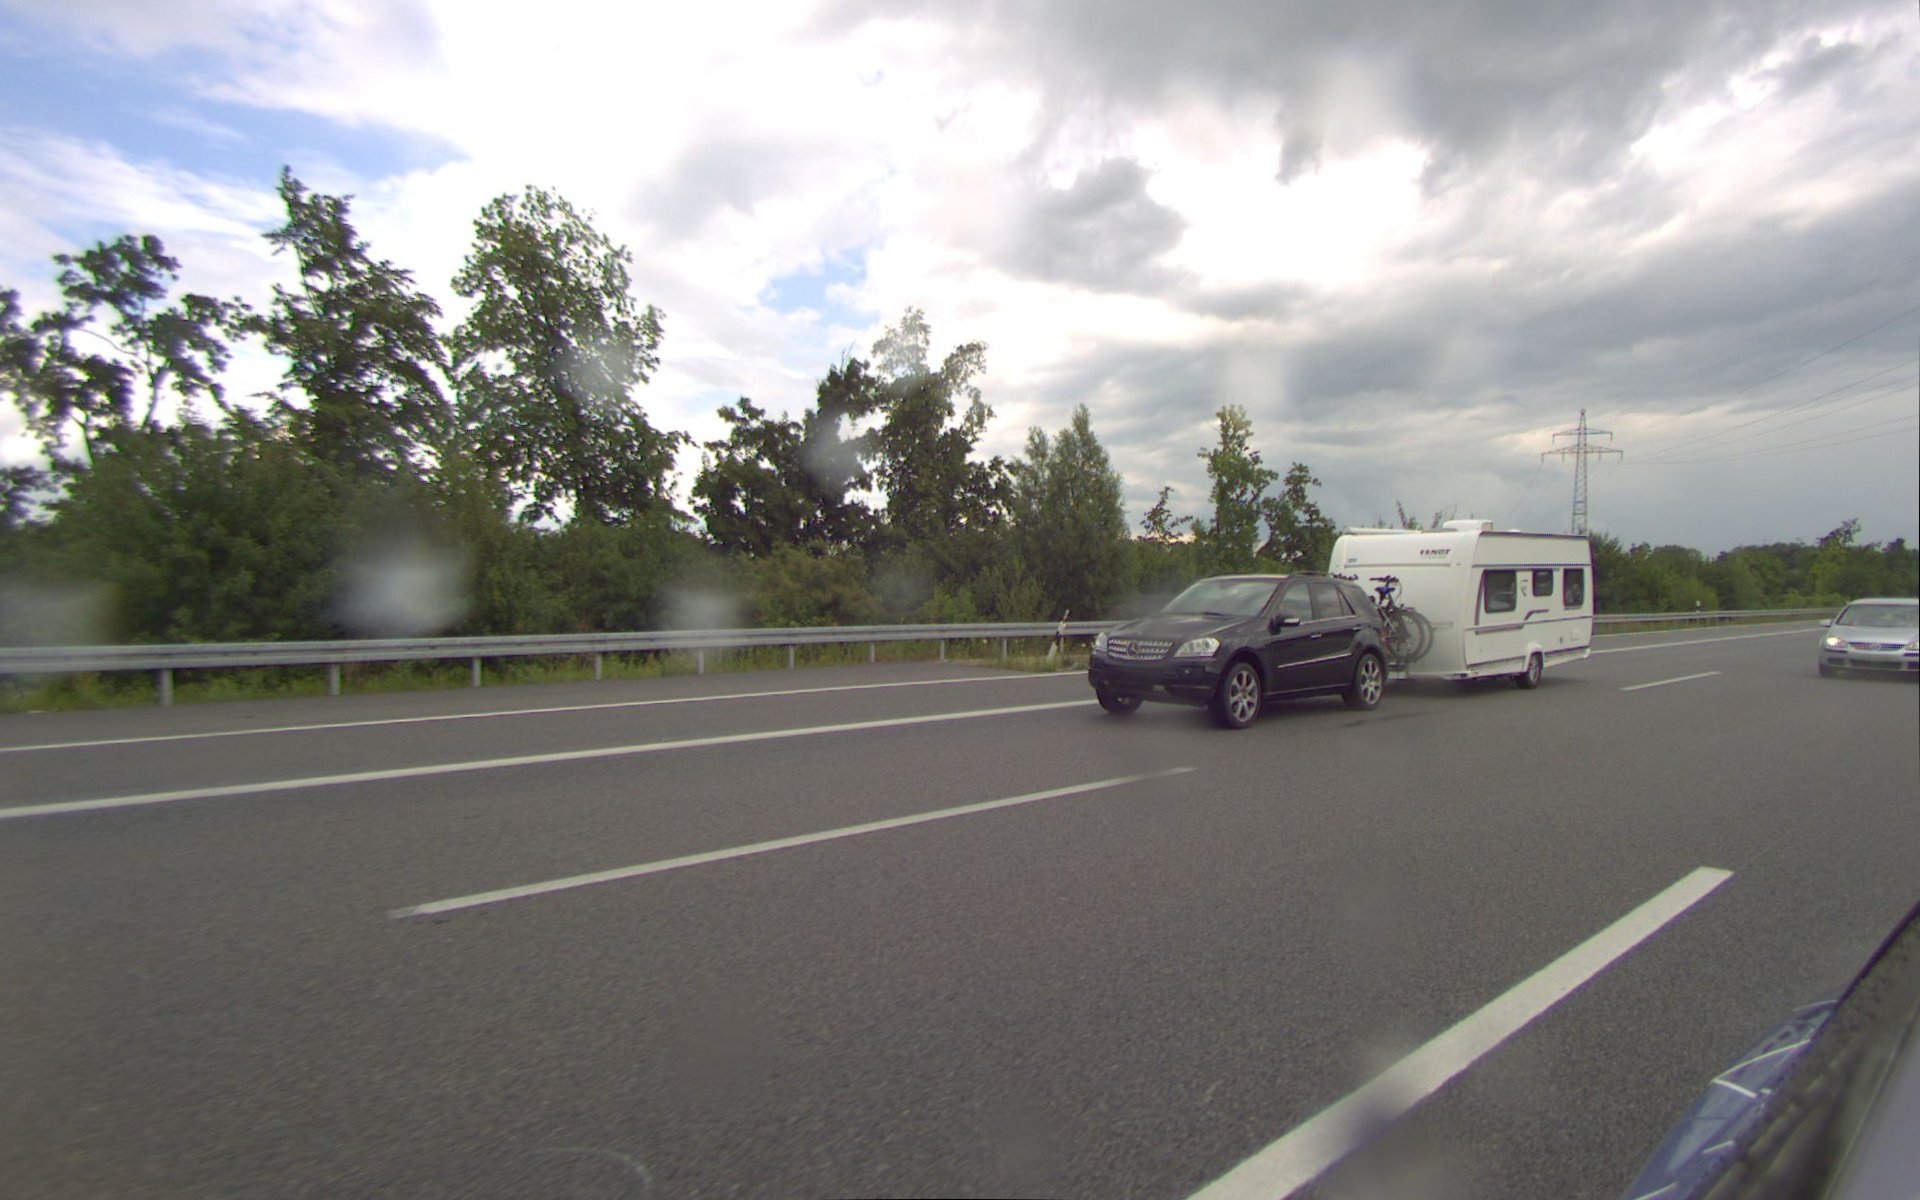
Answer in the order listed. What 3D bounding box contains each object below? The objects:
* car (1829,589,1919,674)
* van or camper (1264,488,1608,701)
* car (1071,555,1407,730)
[{"bbox_3d":[17.898,0.528,19.123,3.930,1.464,1.682,0,1,-41],"label":"car"},{"bbox_3d":[7.977,-0.099,16.454,7.083,2.773,2.388,-1,0,-41],"label":"van or camper"},{"bbox_3d":[3.588,0.409,12.601,4.423,1.798,1.923,0,1,-41],"label":"car"}]
